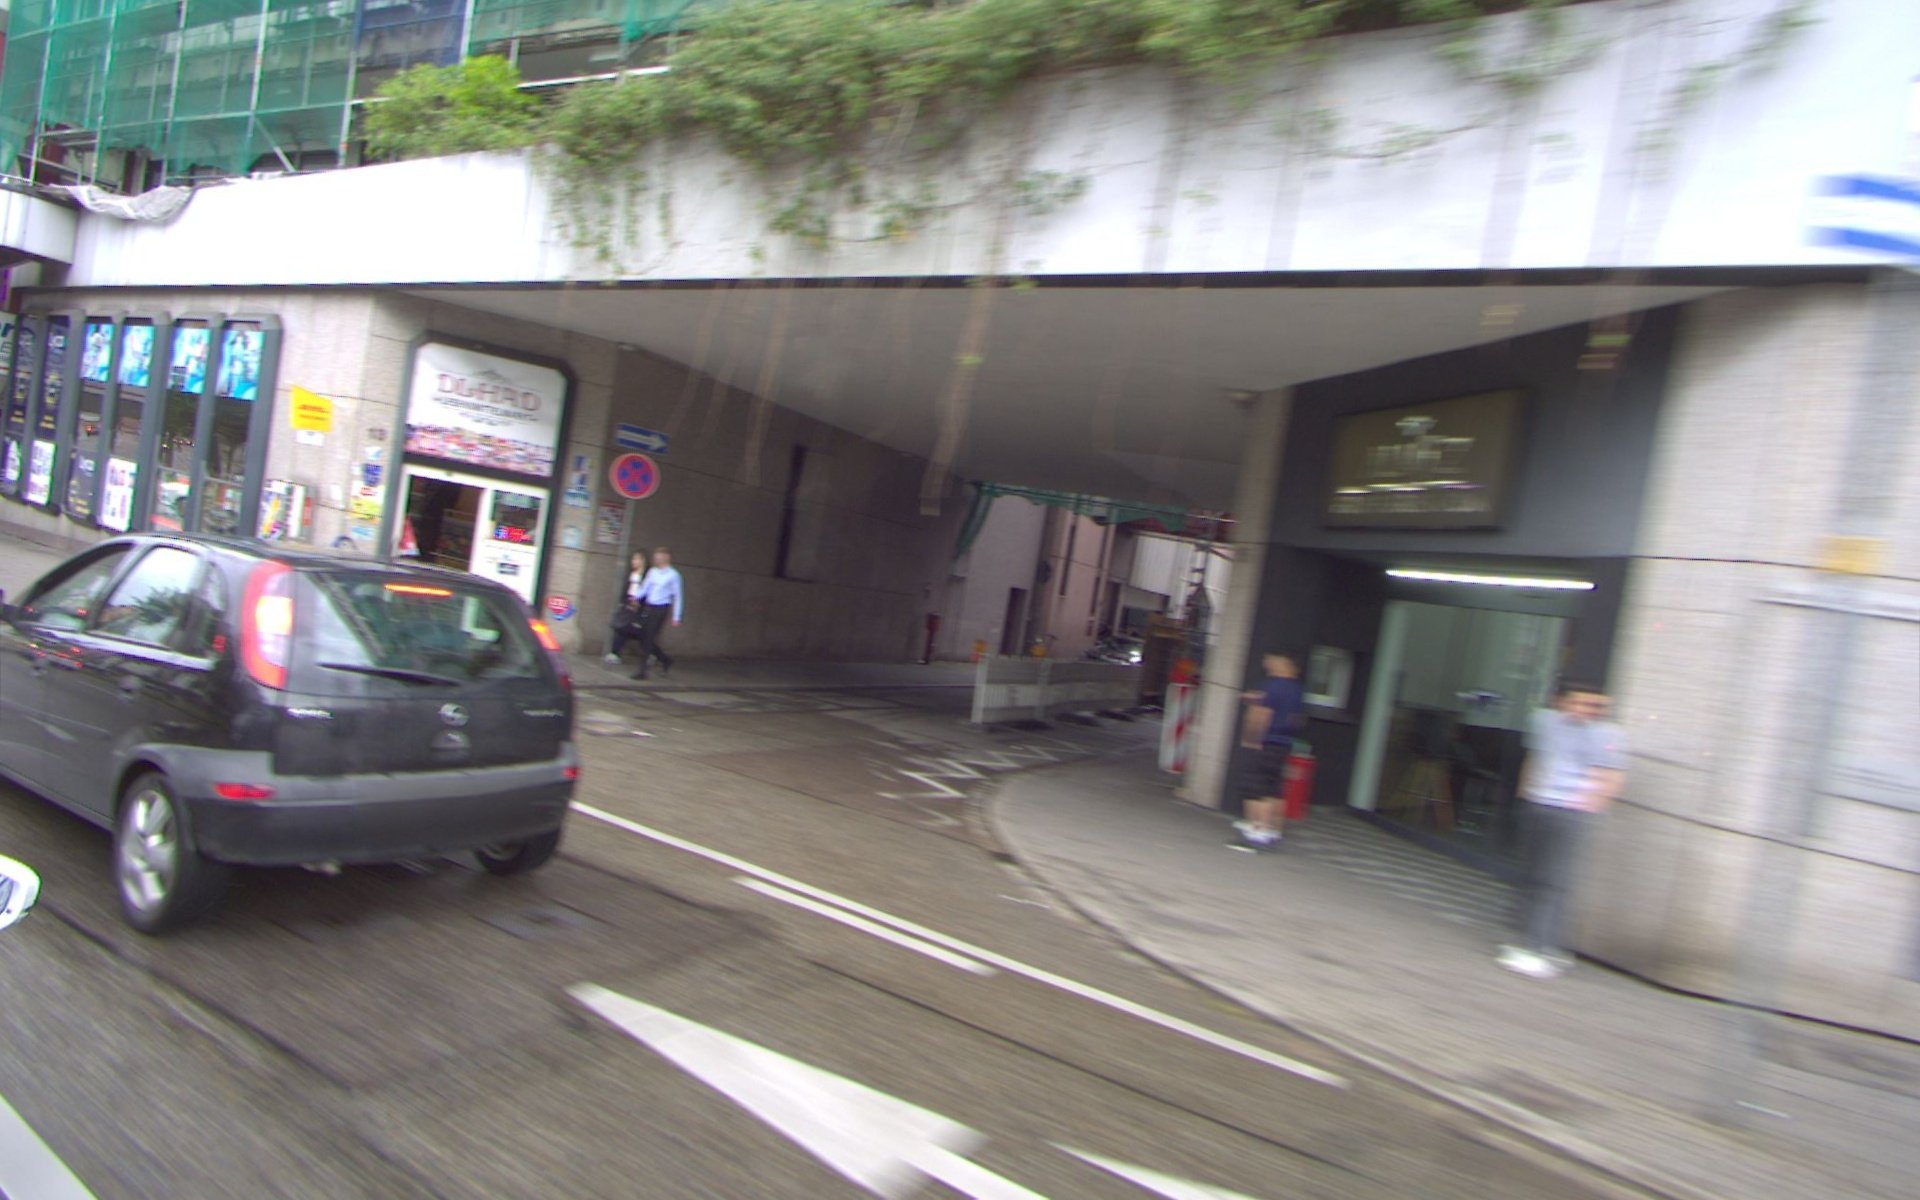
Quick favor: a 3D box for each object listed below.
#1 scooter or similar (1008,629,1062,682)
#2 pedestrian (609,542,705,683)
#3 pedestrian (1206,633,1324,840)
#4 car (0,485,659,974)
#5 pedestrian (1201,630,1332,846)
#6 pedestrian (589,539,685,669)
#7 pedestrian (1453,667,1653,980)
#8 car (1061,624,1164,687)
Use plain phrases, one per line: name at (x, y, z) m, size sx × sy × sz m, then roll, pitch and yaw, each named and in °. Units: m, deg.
scooter or similar at (2.004, 1.474, 26.614) m, size 0.419 × 1.276 × 1.631 m, roll 15°, pitch 4°, yaw 35°
pedestrian at (-4.250, 0.184, 14.111) m, size 0.824 × 1.802 × 0.616 m, roll 14°, pitch 5°, yaw 28°
pedestrian at (2.775, 1.230, 9.196) m, size 0.507 × 1.757 × 0.635 m, roll 8°, pitch 2°, yaw -20°
car at (-3.486, 0.336, 4.896) m, size 3.707 × 1.437 × 1.719 m, roll 8°, pitch 0°, yaw 31°
pedestrian at (2.563, 1.149, 8.451) m, size 0.593 × 1.683 × 0.570 m, roll 8°, pitch 2°, yaw -27°
pedestrian at (-4.805, 0.074, 14.978) m, size 0.756 × 1.743 × 0.719 m, roll 16°, pitch 4°, yaw 28°
pedestrian at (3.434, 1.276, 5.861) m, size 0.633 × 1.671 × 0.560 m, roll 5°, pitch 2°, yaw -18°
car at (4.924, 1.752, 32.041) m, size 2.072 × 1.415 × 3.998 m, roll 14°, pitch 3°, yaw 23°
